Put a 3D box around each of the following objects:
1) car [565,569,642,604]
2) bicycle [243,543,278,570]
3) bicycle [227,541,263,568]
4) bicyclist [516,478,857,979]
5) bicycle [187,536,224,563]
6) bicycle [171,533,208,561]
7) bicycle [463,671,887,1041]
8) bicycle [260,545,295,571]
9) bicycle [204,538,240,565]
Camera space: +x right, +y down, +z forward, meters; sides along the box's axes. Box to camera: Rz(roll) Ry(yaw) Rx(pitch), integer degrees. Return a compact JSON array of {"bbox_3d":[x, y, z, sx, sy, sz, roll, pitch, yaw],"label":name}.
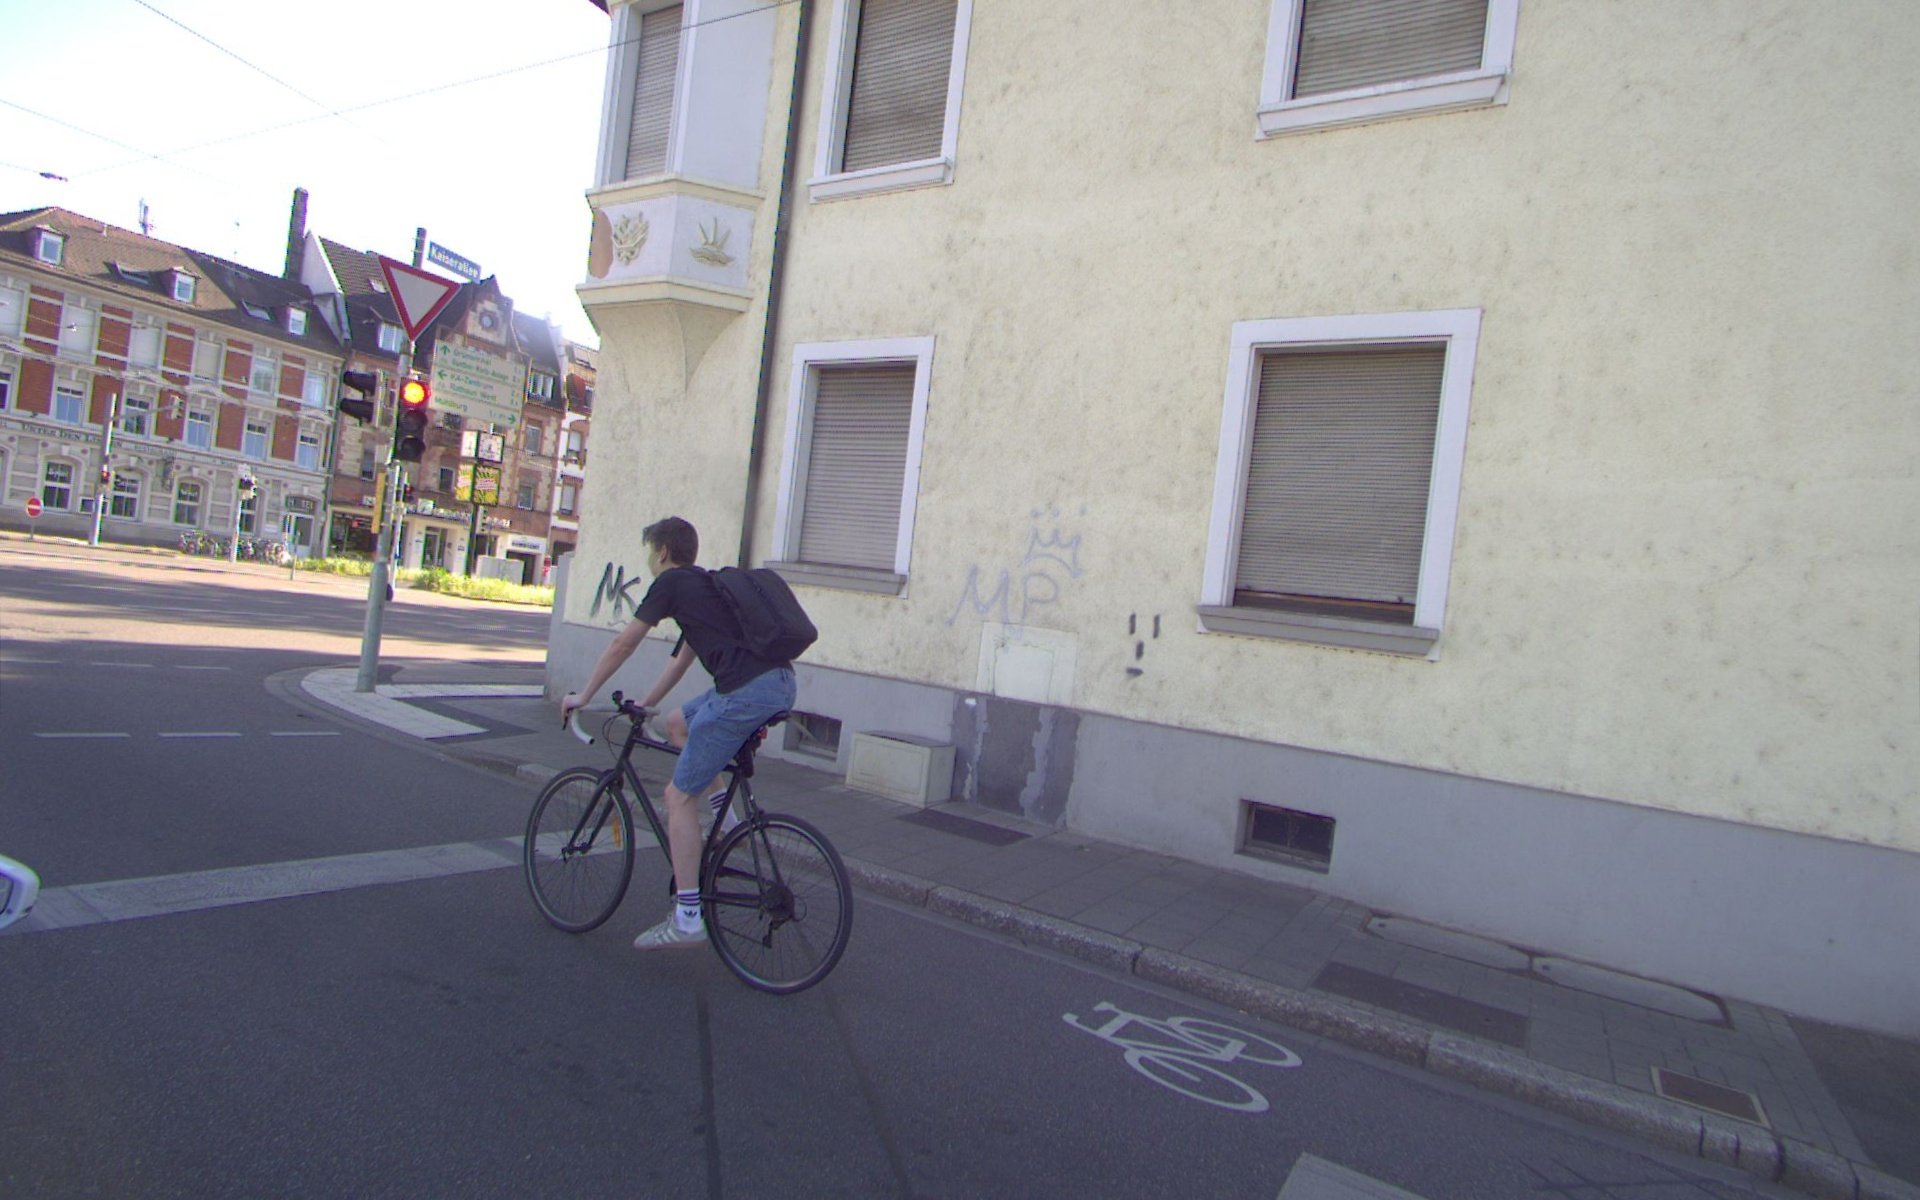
[{"bbox_3d":[-23.113,-0.860,65.300,1.966,1.674,4.378,7,-1,29],"label":"car"},{"bbox_3d":[-33.346,-2.087,47.943,1.614,1.064,0.606,7,0,27],"label":"bicycle"},{"bbox_3d":[-33.640,-2.150,47.332,1.614,1.064,0.606,7,0,27],"label":"bicycle"},{"bbox_3d":[-1.110,0.444,4.069,1.066,1.751,0.560,6,-1,32],"label":"bicyclist"},{"bbox_3d":[-34.637,-2.328,46.186,1.614,1.064,0.606,7,0,27],"label":"bicycle"},{"bbox_3d":[-34.936,-2.391,45.604,1.614,1.064,0.606,7,0,27],"label":"bicycle"},{"bbox_3d":[-1.208,0.922,4.091,1.729,1.029,0.532,7,0,32],"label":"bicycle"},{"bbox_3d":[-32.972,-2.012,48.580,1.614,1.064,0.606,7,0,27],"label":"bicycle"},{"bbox_3d":[-34.306,-2.261,46.762,1.614,1.064,0.606,7,0,27],"label":"bicycle"}]
